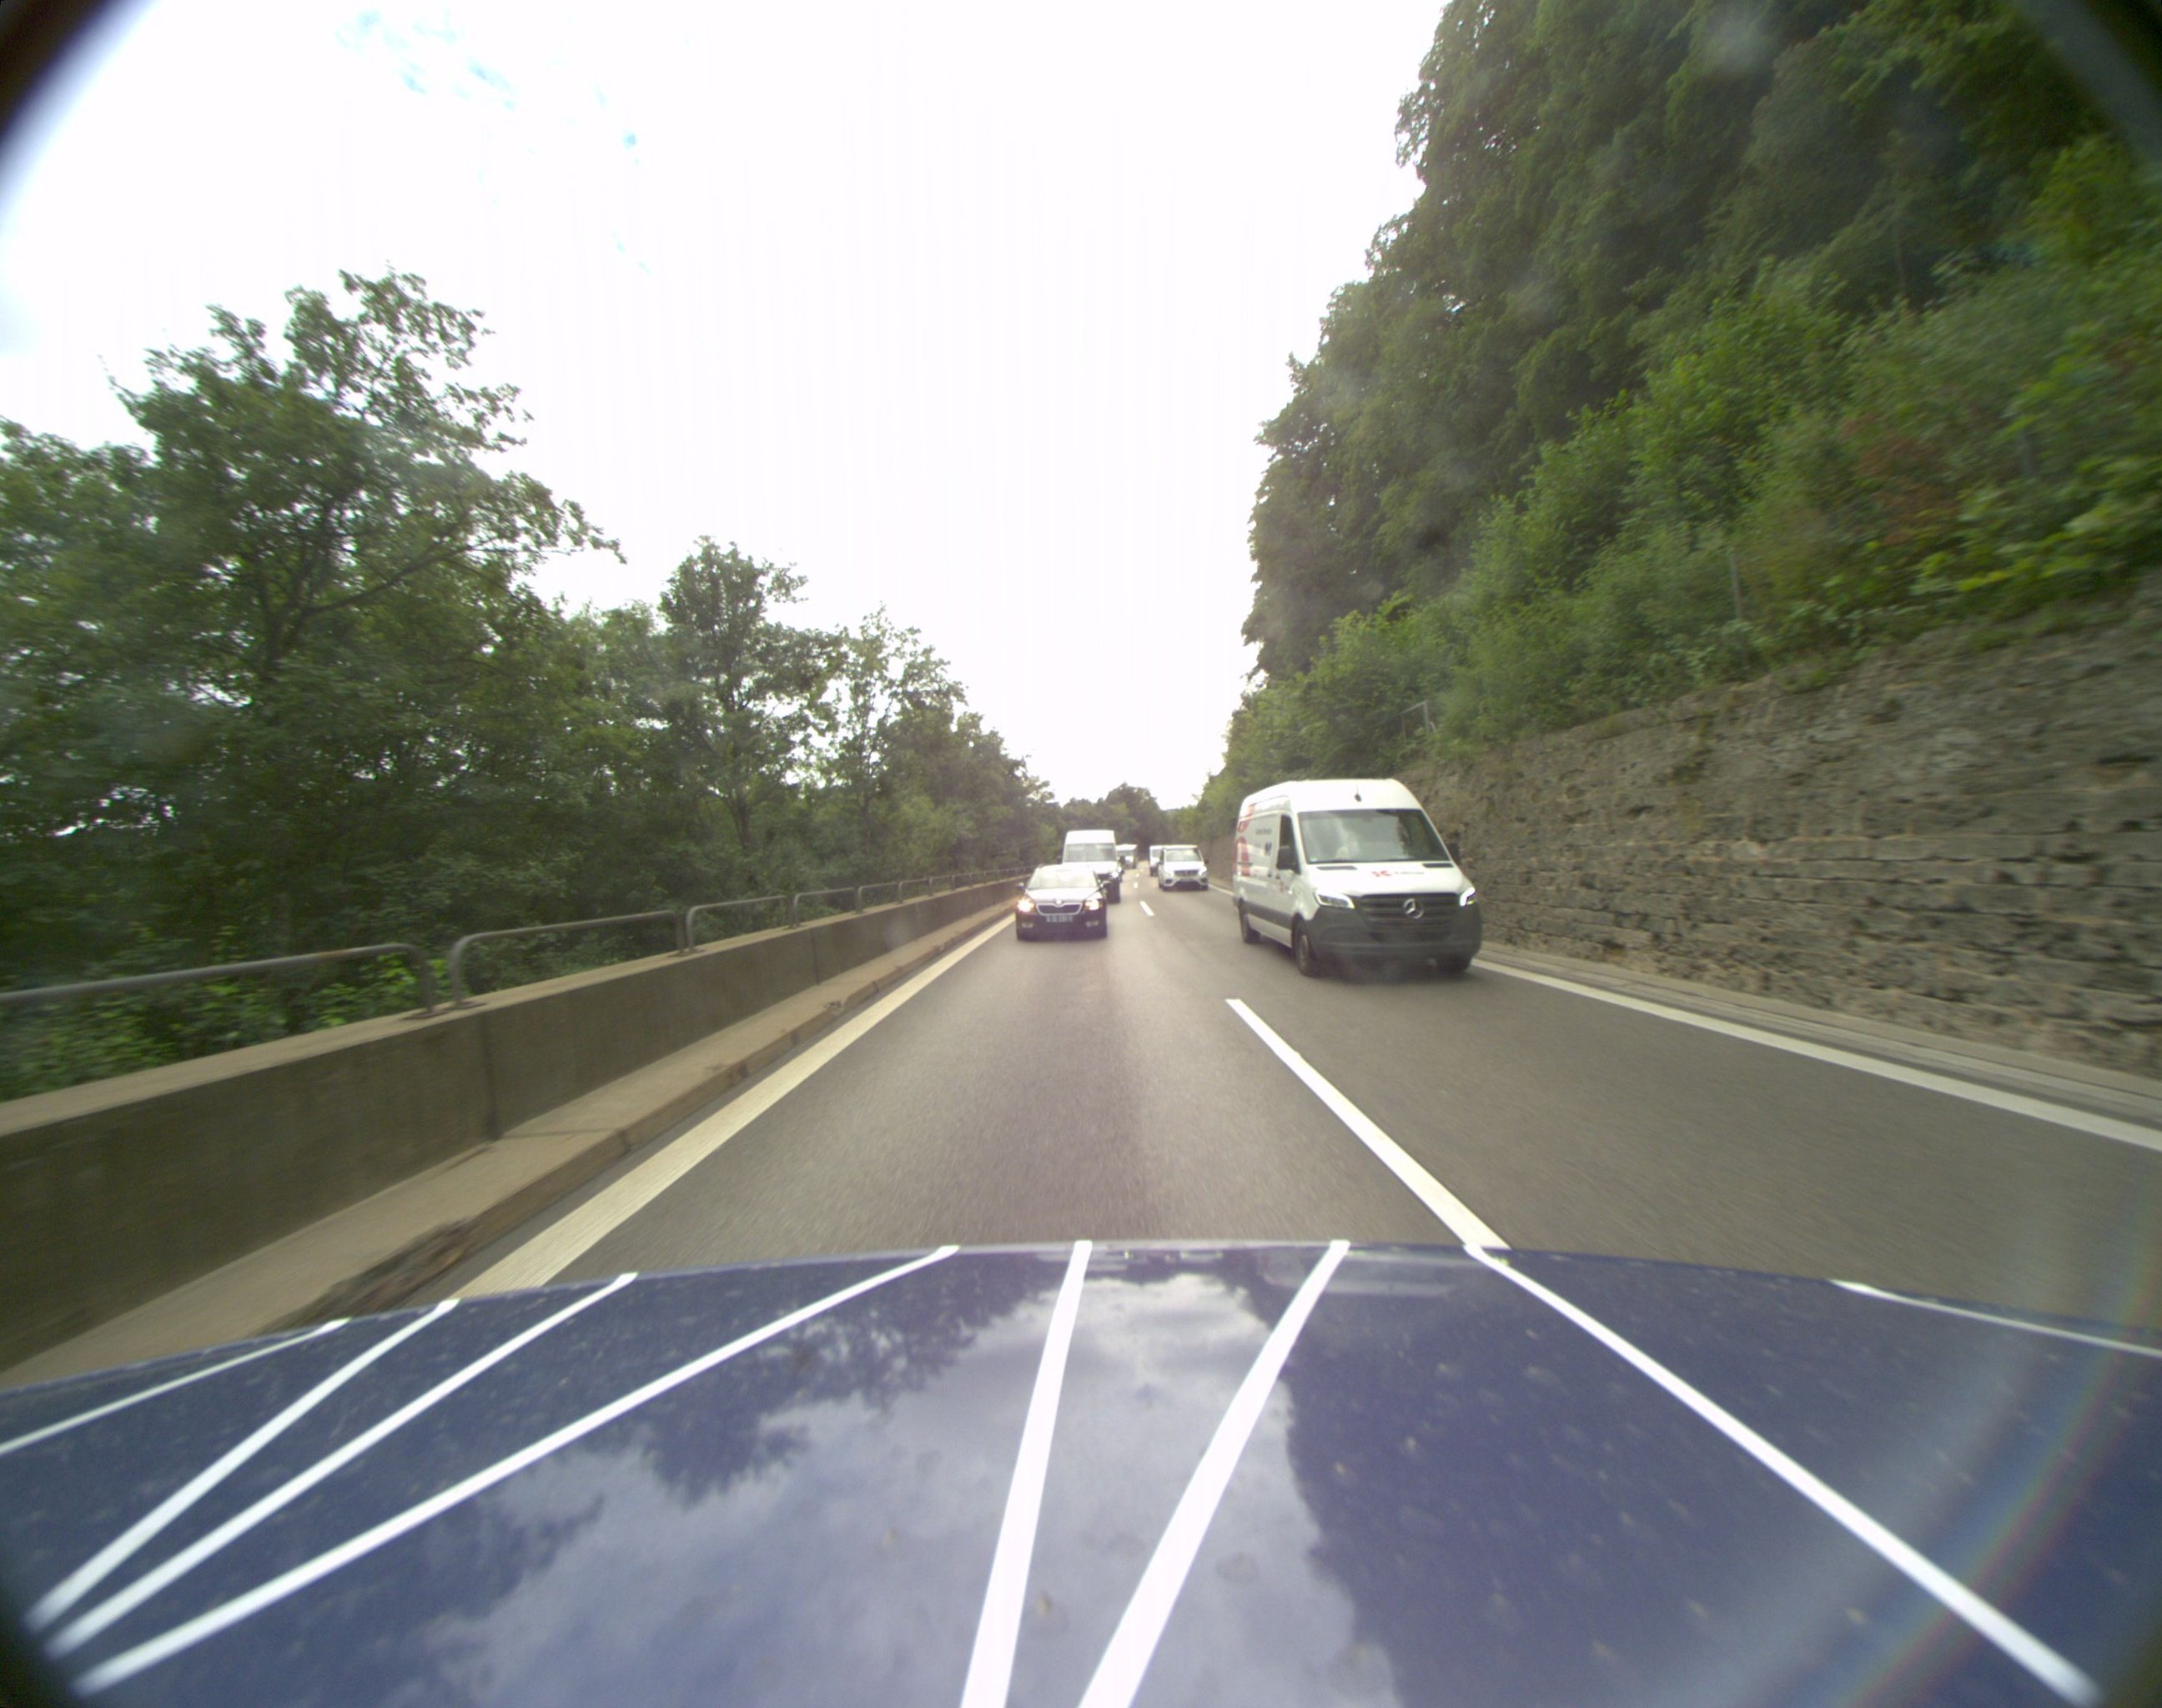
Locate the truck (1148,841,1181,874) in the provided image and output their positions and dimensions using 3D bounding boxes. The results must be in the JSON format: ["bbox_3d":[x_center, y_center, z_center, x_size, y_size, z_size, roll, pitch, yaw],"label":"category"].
[{"bbox_3d":[6.356,0.223,57.173,1.997,2.266,6.590,-3,0,10],"label":"truck"}]

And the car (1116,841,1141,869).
[{"bbox_3d":[5.392,0.057,85.288,2.275,2.941,7.188,-2,1,6],"label":"car"}]

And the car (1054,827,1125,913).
[{"bbox_3d":[0.427,0.462,26.207,1.998,2.550,5.919,-2,1,4],"label":"car"}]

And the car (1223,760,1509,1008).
[{"bbox_3d":[3.603,0.291,11.193,2.031,2.570,6.275,-2,1,2],"label":"car"}]

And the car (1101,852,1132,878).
[{"bbox_3d":[2.988,0.869,62.545,1.997,1.871,4.002,-3,1,9],"label":"car"}]

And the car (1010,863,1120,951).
[{"bbox_3d":[-0.392,1.003,16.733,1.913,1.391,5.695,-4,0,-2],"label":"car"}]

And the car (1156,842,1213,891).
[{"bbox_3d":[4.578,0.514,34.532,1.998,1.941,6.149,-3,0,4],"label":"car"}]

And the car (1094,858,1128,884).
[{"bbox_3d":[1.879,1.031,46.588,1.846,1.408,4.001,-2,0,5],"label":"car"}]
